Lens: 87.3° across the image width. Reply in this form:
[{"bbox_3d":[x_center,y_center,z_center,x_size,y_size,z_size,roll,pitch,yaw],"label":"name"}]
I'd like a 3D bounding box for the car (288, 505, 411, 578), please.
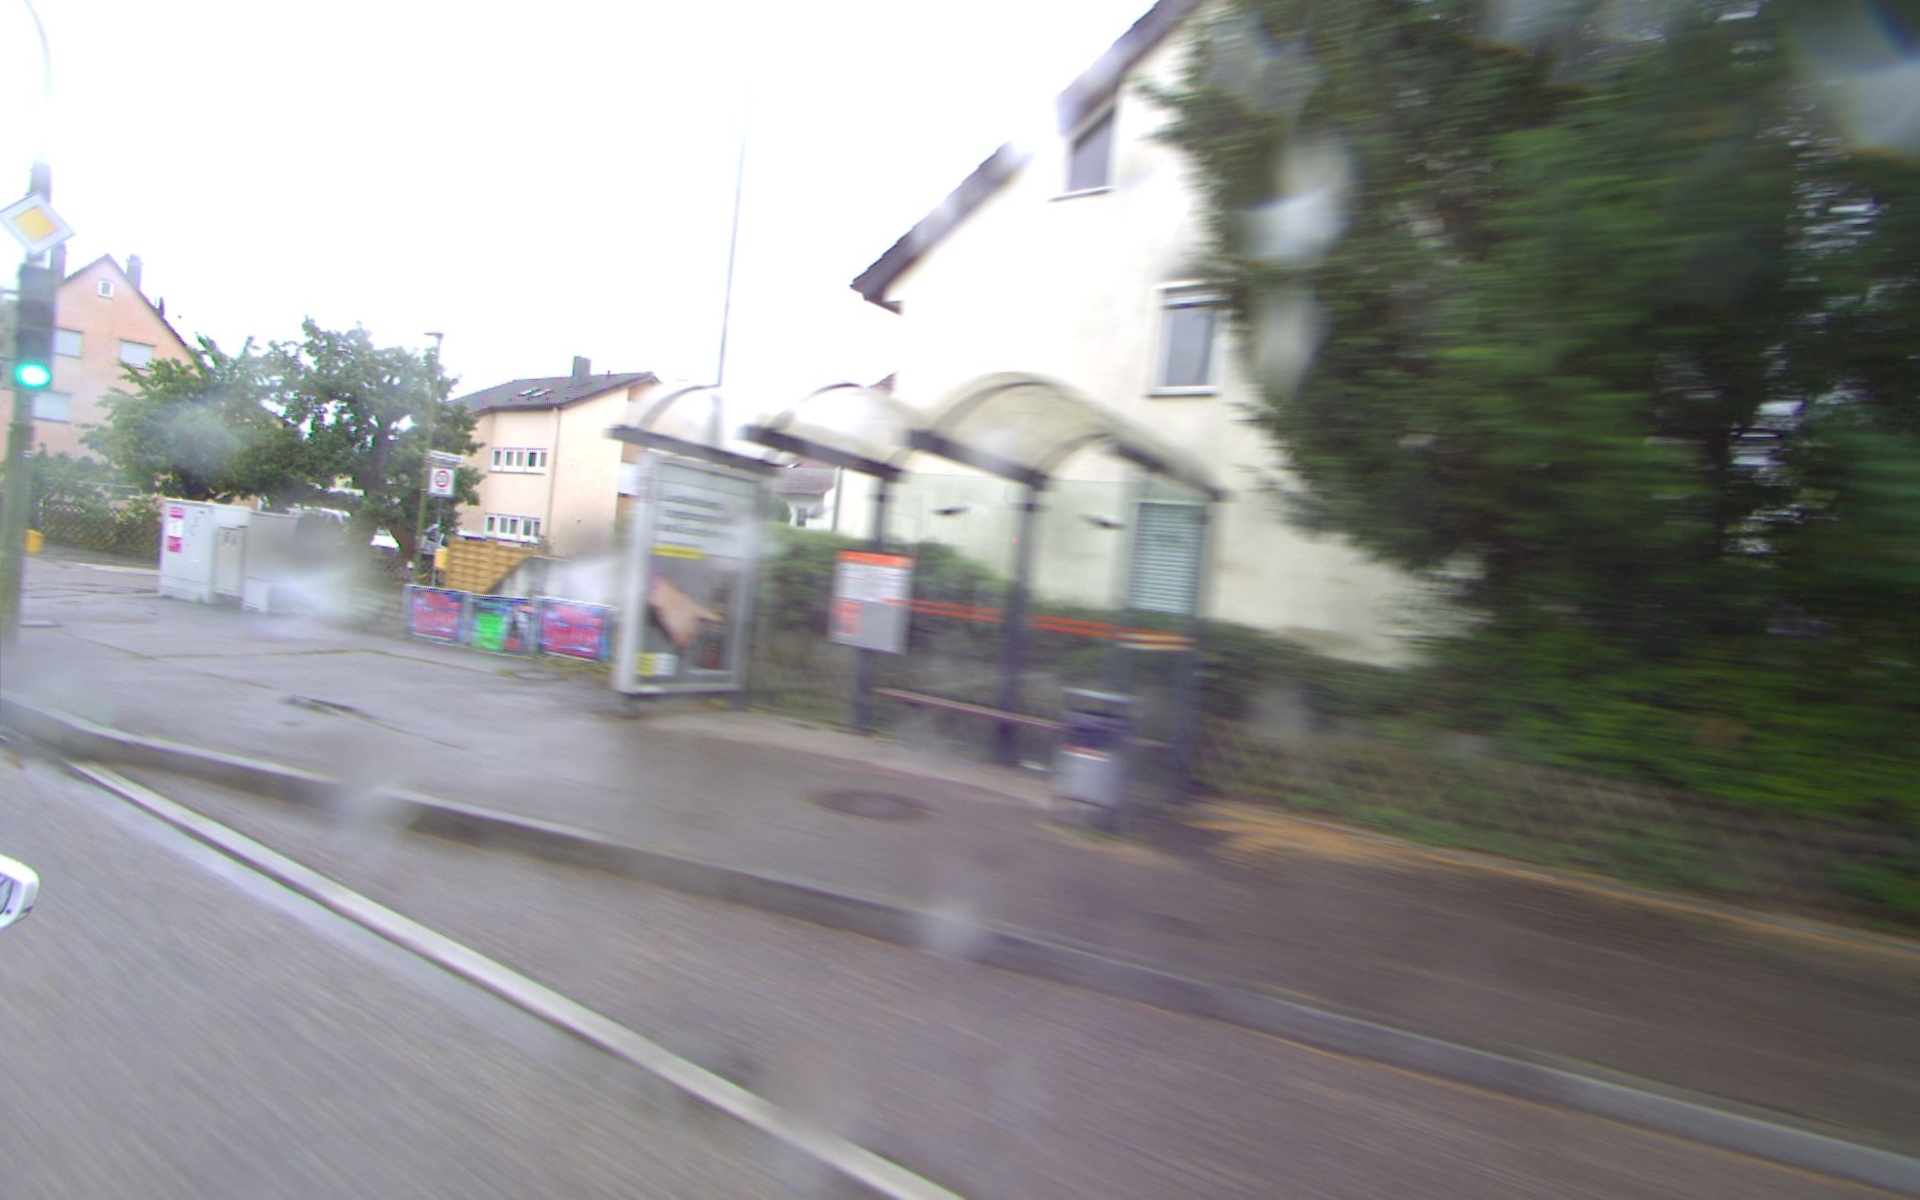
[{"bbox_3d":[-22.823,-2.201,37.524,5.104,2.109,1.946,8,0,36],"label":"car"}]

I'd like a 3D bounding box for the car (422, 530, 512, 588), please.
[{"bbox_3d":[-19.617,-1.634,39.995,3.586,1.840,1.655,7,0,38],"label":"car"}]

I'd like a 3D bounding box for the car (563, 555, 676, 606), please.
[{"bbox_3d":[-13.320,-0.731,39.622,1.859,1.693,3.993,7,2,25],"label":"car"}]
